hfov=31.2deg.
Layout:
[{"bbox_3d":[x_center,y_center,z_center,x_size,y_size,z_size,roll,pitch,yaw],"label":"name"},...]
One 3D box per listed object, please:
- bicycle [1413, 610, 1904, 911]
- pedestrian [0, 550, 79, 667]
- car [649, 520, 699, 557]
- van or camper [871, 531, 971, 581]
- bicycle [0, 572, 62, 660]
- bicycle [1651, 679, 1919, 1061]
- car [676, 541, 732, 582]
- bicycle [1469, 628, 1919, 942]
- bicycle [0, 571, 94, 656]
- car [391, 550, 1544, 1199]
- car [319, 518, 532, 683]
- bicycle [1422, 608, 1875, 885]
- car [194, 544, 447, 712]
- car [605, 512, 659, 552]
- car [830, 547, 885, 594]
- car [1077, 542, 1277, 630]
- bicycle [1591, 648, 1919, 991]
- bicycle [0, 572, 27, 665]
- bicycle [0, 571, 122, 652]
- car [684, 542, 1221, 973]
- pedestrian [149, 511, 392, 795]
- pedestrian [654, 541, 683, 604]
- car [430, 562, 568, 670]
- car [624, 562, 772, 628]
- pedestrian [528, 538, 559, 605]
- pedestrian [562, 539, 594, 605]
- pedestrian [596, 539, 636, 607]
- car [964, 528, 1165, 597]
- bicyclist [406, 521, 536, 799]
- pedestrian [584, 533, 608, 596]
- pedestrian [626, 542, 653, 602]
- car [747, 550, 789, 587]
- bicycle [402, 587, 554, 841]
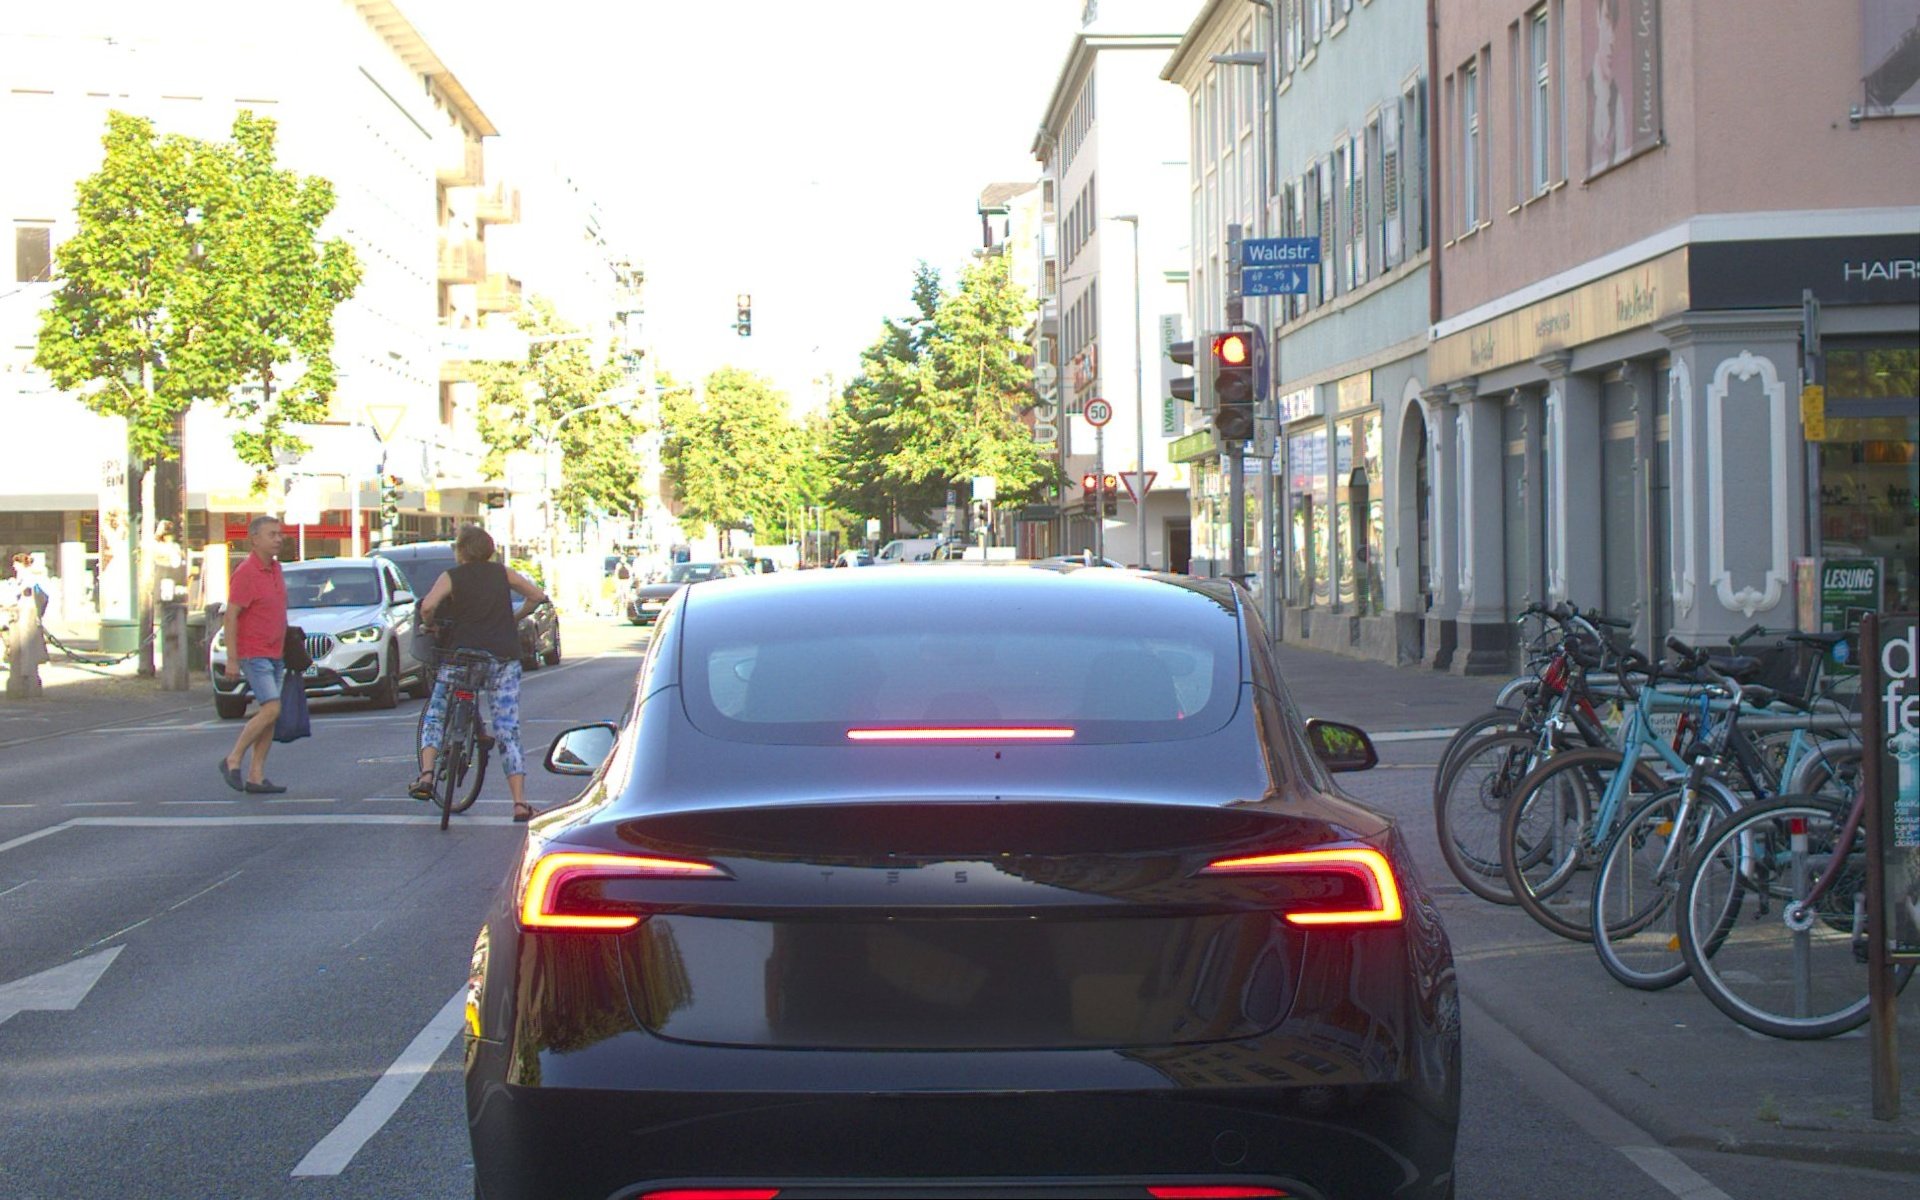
[{"bbox_3d":[2.740,0.622,13.610,1.813,1.148,0.653,0,1,1],"label":"bicycle"},{"bbox_3d":[-13.106,0.108,47.845,1.094,1.606,1.265,1,0,19],"label":"pedestrian"},{"bbox_3d":[-15.639,-3.355,188.289,2.275,2.007,4.717,1,1,1],"label":"car"},{"bbox_3d":[-1.891,-2.133,167.557,4.850,2.430,1.851,0,1,-1],"label":"van or camper"},{"bbox_3d":[-14.479,0.220,49.873,2.662,1.255,0.943,1,0,-3],"label":"bicycle"},{"bbox_3d":[3.035,0.761,10.058,1.882,1.040,0.653,-1,1,1],"label":"bicycle"},{"bbox_3d":[-12.385,-1.869,166.459,2.414,1.963,4.678,0,1,-1],"label":"car"},{"bbox_3d":[2.809,0.659,12.537,1.813,1.098,0.653,0,1,1],"label":"bicycle"},{"bbox_3d":[-14.525,0.193,52.148,2.542,1.247,0.943,1,0,-3],"label":"bicycle"},{"bbox_3d":[-0.015,0.630,7.782,1.850,1.442,4.452,1,1,-1],"label":"car"},{"bbox_3d":[-6.564,-0.033,42.671,1.945,1.940,4.820,0,1,-1],"label":"car"},{"bbox_3d":[2.931,0.614,14.745,1.813,1.148,0.653,0,1,1],"label":"bicycle"},{"bbox_3d":[-6.678,0.257,36.348,1.825,1.559,4.301,-4,1,-1],"label":"car"},{"bbox_3d":[-17.116,-3.535,179.650,2.275,2.007,4.717,1,1,1],"label":"car"},{"bbox_3d":[-3.903,-1.133,131.294,2.035,1.782,4.006,0,1,-1],"label":"car"},{"bbox_3d":[4.718,-0.322,74.683,3.992,1.861,1.698,0,1,-21],"label":"car"},{"bbox_3d":[3.009,0.695,11.130,1.813,1.056,0.653,0,1,1],"label":"bicycle"},{"bbox_3d":[-14.478,0.238,47.554,2.875,1.266,0.943,1,0,-3],"label":"bicycle"},{"bbox_3d":[-14.686,0.166,54.573,2.542,1.247,0.943,1,0,-3],"label":"bicycle"},{"bbox_3d":[-0.051,0.526,14.206,1.850,1.476,4.452,1,1,-1],"label":"car"},{"bbox_3d":[-4.312,0.317,21.555,1.110,1.714,1.061,1,0,17],"label":"pedestrian"},{"bbox_3d":[-8.782,-0.832,103.494,0.774,1.861,1.009,1,0,-9],"label":"pedestrian"},{"bbox_3d":[-6.645,0.208,49.805,1.461,1.425,3.606,-4,1,-1],"label":"car"},{"bbox_3d":[-5.747,-0.115,75.938,1.695,1.385,3.911,1,1,22],"label":"car"},{"bbox_3d":[-11.735,-0.807,96.892,0.732,1.861,0.791,1,0,-17],"label":"pedestrian"},{"bbox_3d":[-10.803,-0.797,97.140,0.732,1.861,0.791,1,0,-17],"label":"pedestrian"},{"bbox_3d":[-9.458,-0.752,94.532,0.734,1.861,0.789,1,0,28],"label":"pedestrian"},{"bbox_3d":[2.635,-0.942,86.795,4.697,1.425,1.736,-4,1,-24],"label":"car"},{"bbox_3d":[-2.690,0.317,18.859,0.606,1.479,0.958,1,0,-13],"label":"bicyclist"},{"bbox_3d":[-10.987,-1.072,103.887,0.695,1.861,0.659,1,0,-5],"label":"pedestrian"},{"bbox_3d":[-10.008,-0.889,107.446,0.694,1.861,0.910,1,0,-13],"label":"pedestrian"},{"bbox_3d":[-10.433,-1.741,187.142,2.132,1.963,4.134,0,1,-1],"label":"car"},{"bbox_3d":[-2.636,0.581,18.664,0.627,1.218,2.001,0,3,-13],"label":"bicycle"}]
